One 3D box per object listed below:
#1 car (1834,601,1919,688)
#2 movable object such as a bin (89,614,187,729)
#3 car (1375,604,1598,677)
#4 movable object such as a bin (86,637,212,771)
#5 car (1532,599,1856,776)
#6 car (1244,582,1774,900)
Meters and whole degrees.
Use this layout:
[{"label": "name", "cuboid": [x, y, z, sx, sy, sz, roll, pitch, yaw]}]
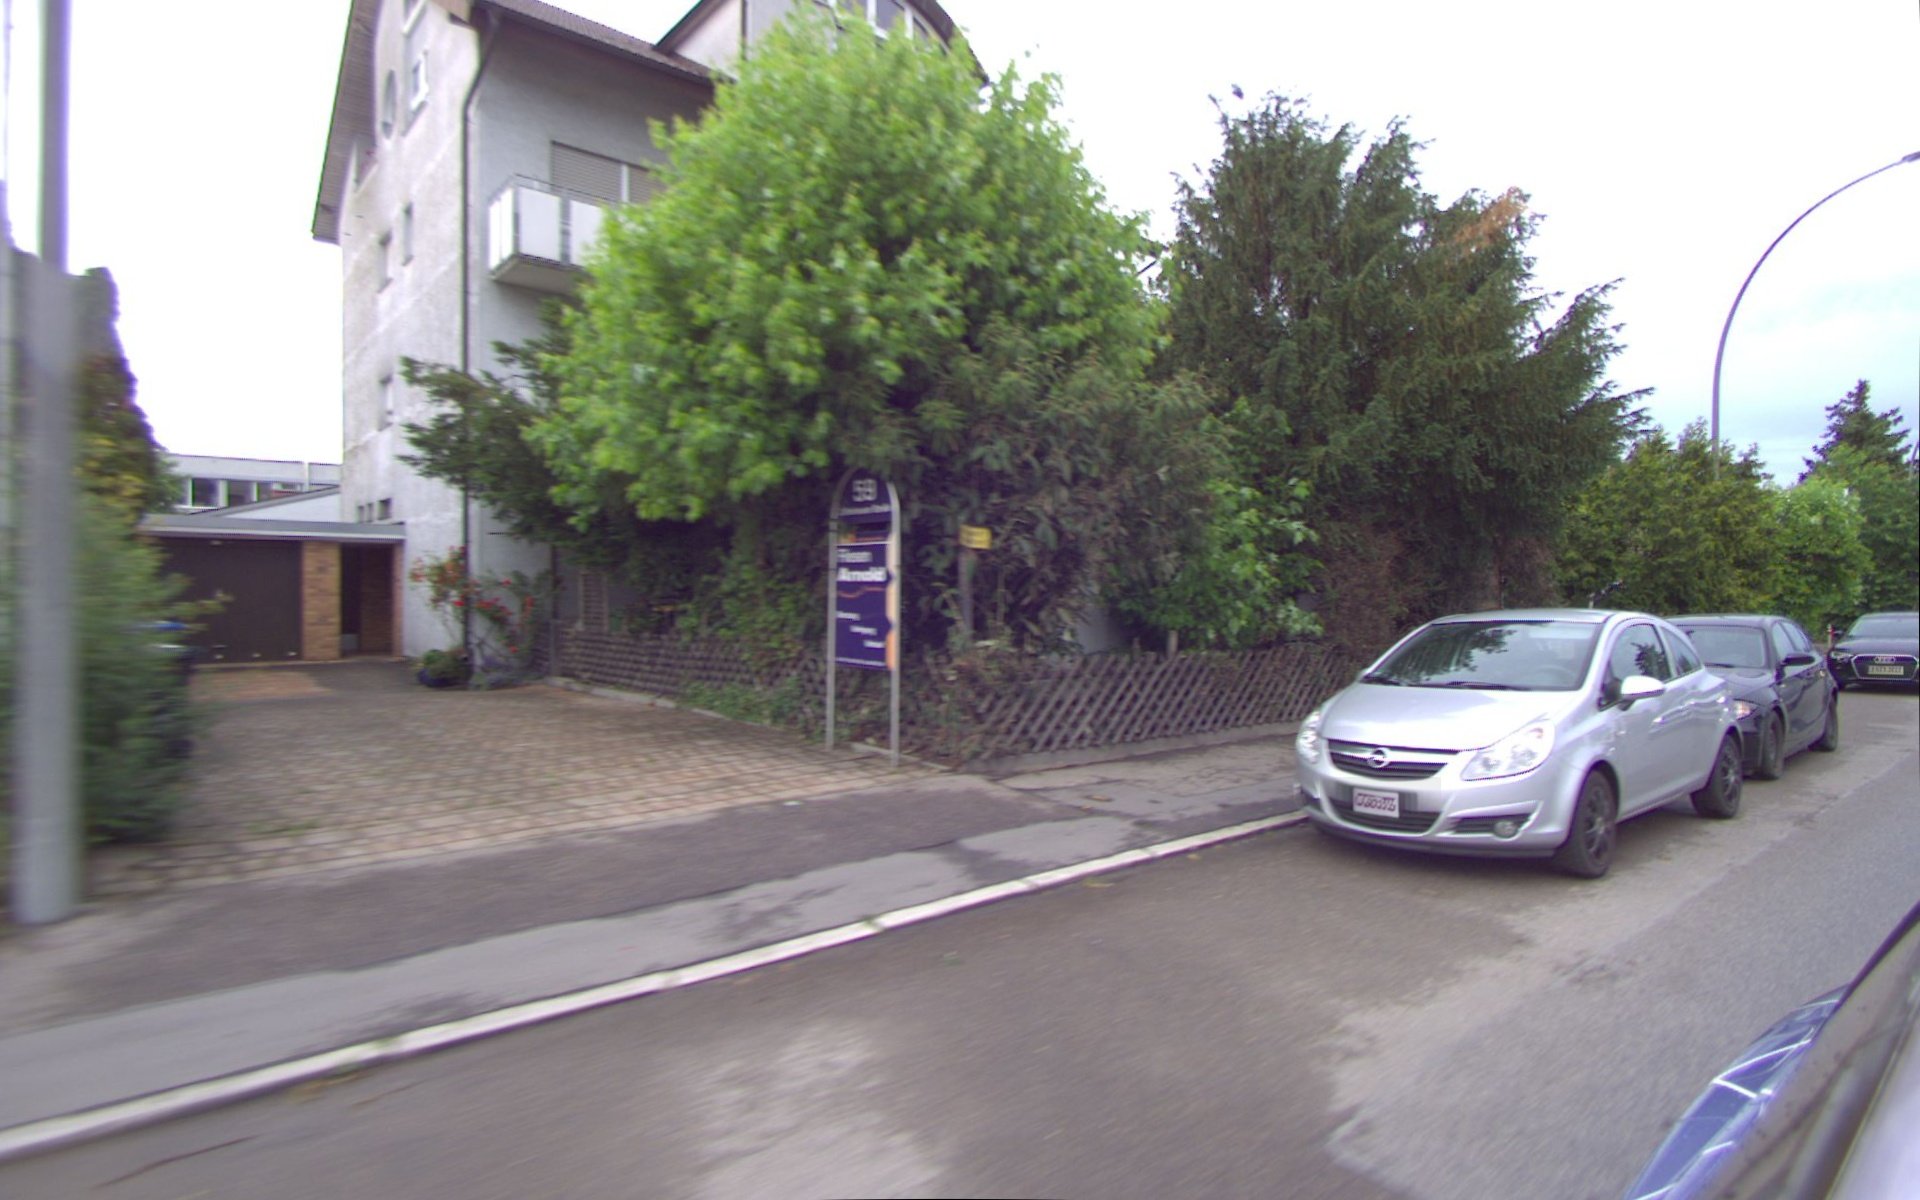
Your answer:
[{"label": "car", "cuboid": [17.517, 0.765, 18.460, 4.037, 1.436, 1.755, 1, 1, -40]}, {"label": "movable object such as a bin", "cuboid": [-8.412, 0.699, 10.355, 0.745, 1.092, 0.860, -1, 0, -41]}, {"label": "car", "cuboid": [11.469, 0.893, 22.281, 1.669, 1.448, 3.995, 1, -3, -38]}, {"label": "movable object such as a bin", "cuboid": [-6.421, 0.782, 8.017, 0.745, 0.939, 0.860, -1, 0, -41]}, {"label": "car", "cuboid": [7.323, 0.729, 9.986, 3.652, 1.421, 1.740, 1, -2, -40]}, {"label": "car", "cuboid": [3.783, 0.702, 6.744, 3.810, 1.521, 1.741, 1, -2, -38]}]
